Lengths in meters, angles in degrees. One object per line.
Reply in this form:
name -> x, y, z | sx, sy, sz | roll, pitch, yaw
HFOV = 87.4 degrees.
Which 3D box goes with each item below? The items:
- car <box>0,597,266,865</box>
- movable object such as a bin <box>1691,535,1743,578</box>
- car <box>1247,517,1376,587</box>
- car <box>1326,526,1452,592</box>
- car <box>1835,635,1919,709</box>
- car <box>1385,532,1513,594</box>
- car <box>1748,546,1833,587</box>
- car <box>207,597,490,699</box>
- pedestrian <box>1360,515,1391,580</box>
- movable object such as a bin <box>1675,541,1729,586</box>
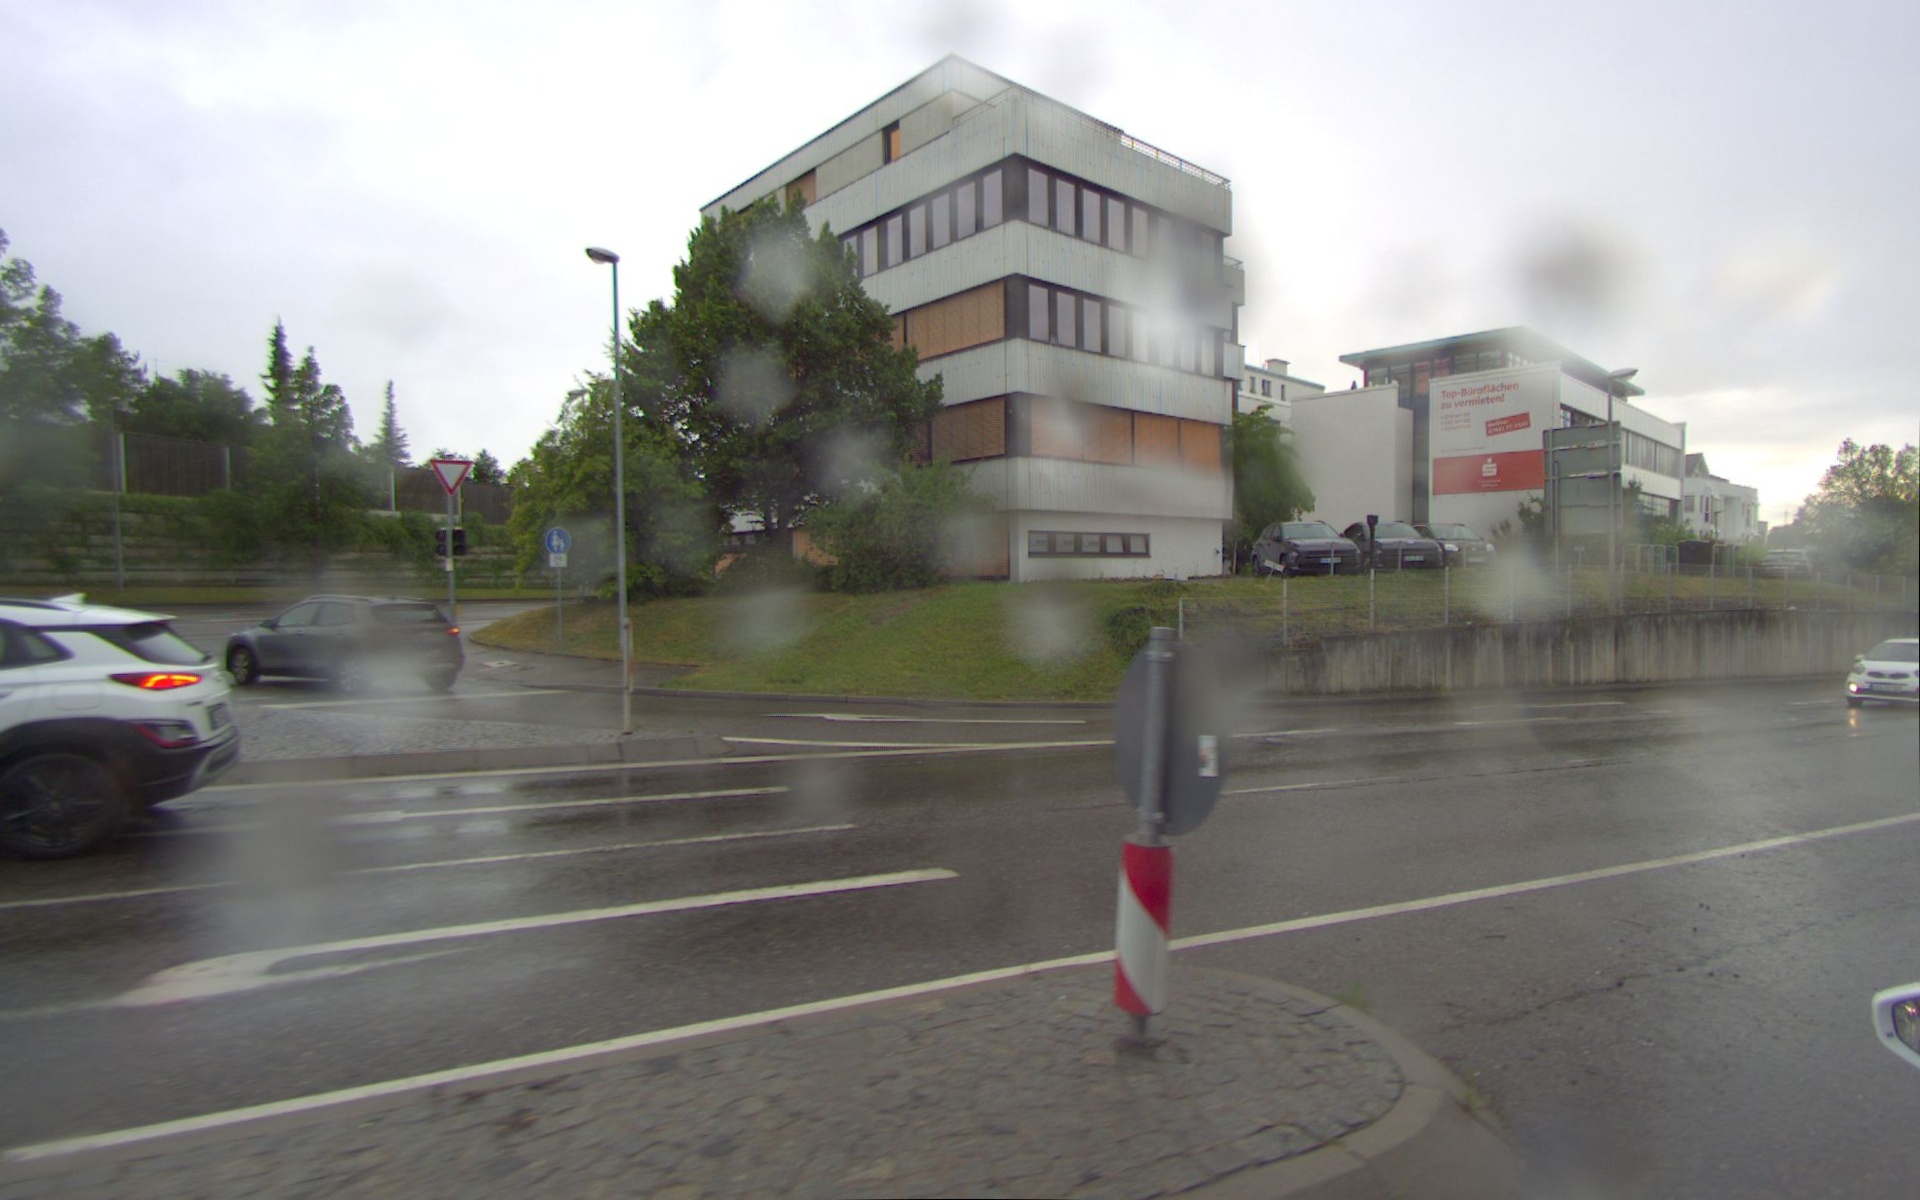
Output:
car -> -6.716, 0.739, 6.064 | 3.950, 1.514, 1.713 | 1, 0, -29
movable object such as a bin -> 26.840, -1.535, 35.619 | 1.433, 1.456, 1.075 | 2, 1, -37
car -> 9.089, -1.178, 26.336 | 1.865, 1.607, 3.999 | 3, 1, -1
car -> 11.765, -1.067, 27.855 | 1.864, 1.607, 4.001 | 3, 1, 2
car -> 21.009, 1.530, 22.083 | 3.750, 1.448, 1.644 | 1, 0, -32
car -> 14.240, -1.039, 29.524 | 1.864, 1.607, 4.001 | 3, 1, 2
car -> 34.307, -1.353, 41.482 | 3.964, 1.461, 1.814 | 2, 1, -37
car -> -9.982, 0.740, 16.443 | 3.921, 1.475, 1.904 | 1, -1, 20
pedestrian -> 10.341, -1.302, 25.003 | 0.493, 1.571, 0.519 | 1, 0, -11
movable object such as a bin -> 25.662, -1.256, 34.730 | 1.433, 1.456, 1.075 | 2, 1, -37
